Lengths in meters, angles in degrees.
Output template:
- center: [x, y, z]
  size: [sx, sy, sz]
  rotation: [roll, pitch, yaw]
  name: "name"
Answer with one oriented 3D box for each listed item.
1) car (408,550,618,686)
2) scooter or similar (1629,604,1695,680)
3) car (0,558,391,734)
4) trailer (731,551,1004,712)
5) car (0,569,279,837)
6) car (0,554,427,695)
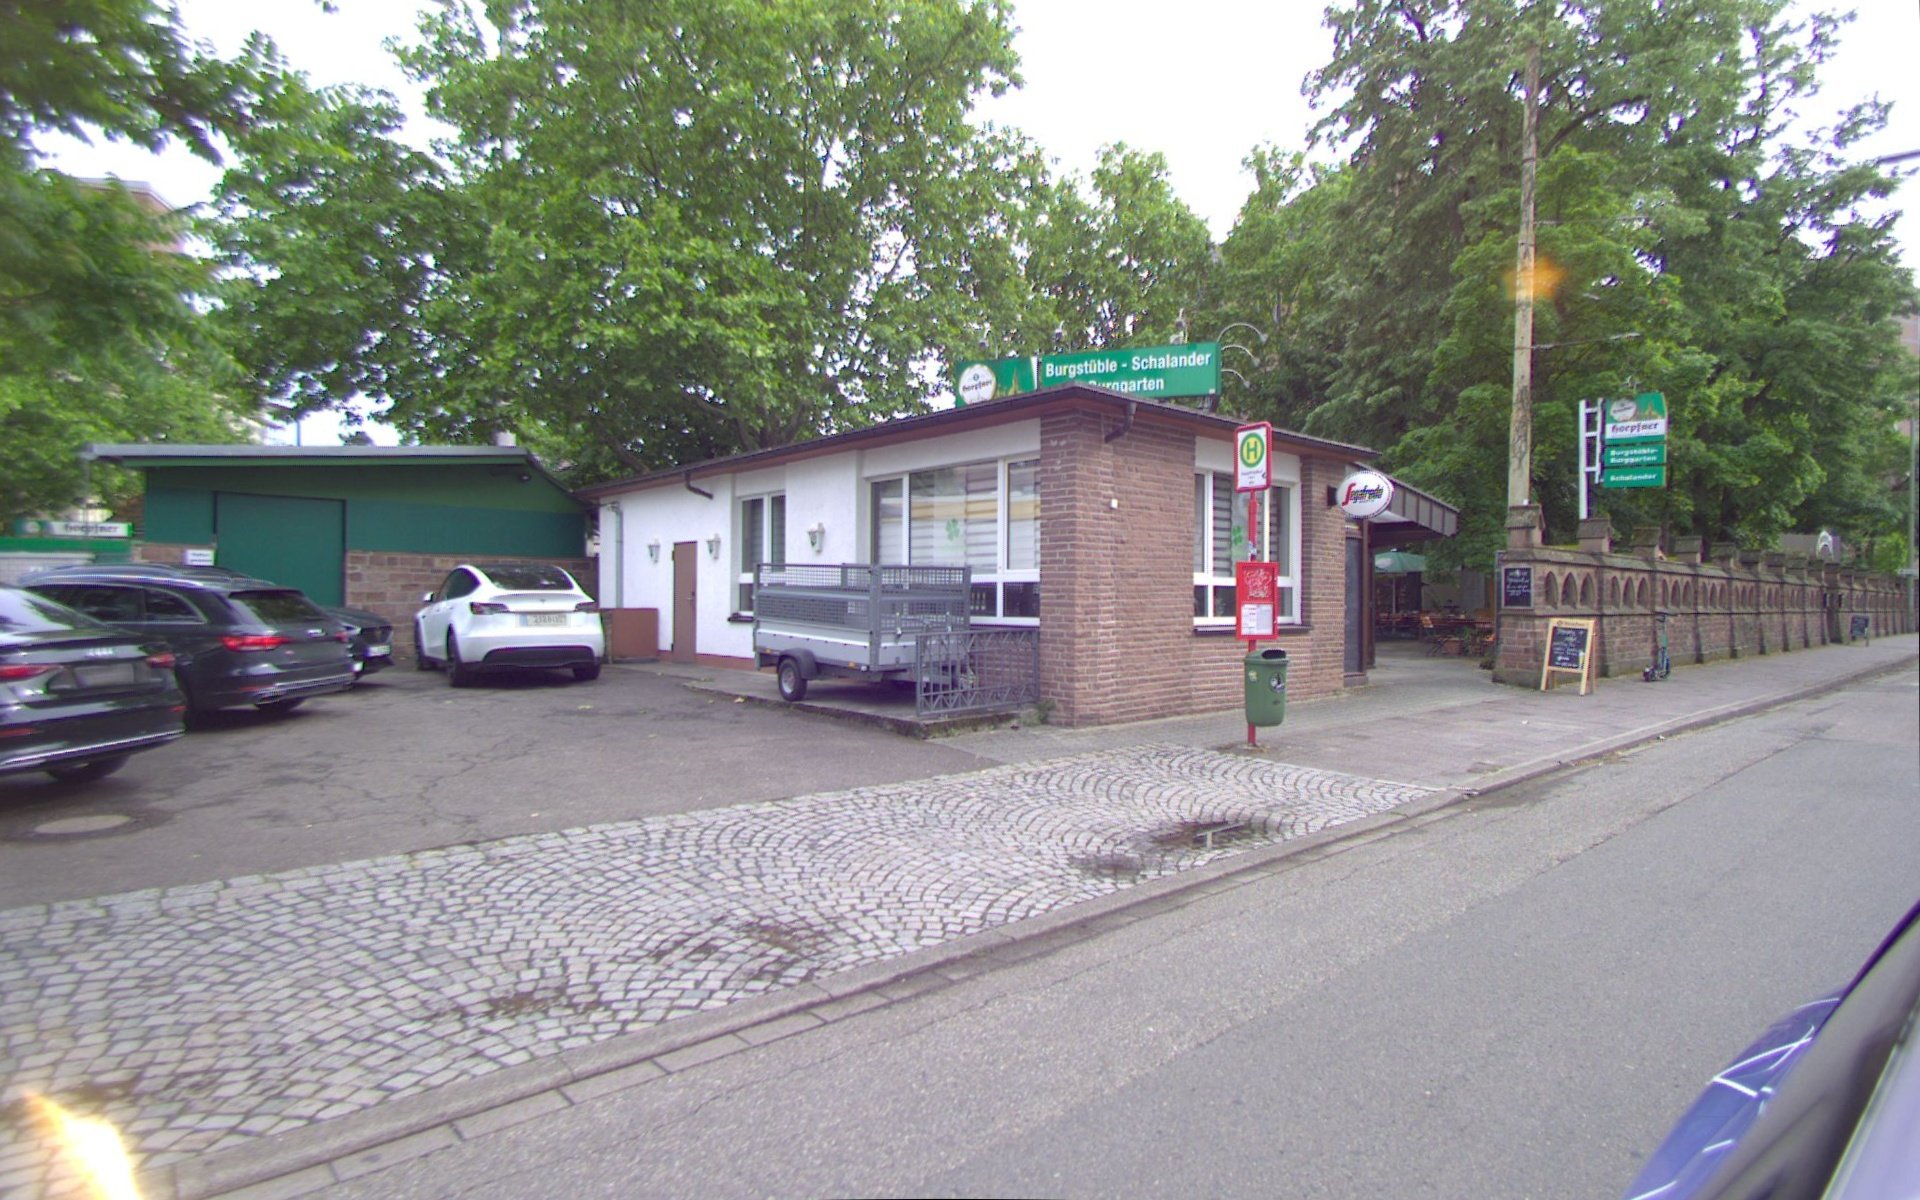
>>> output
- center: [-6.626, 0.206, 14.718]
  size: [1.953, 1.667, 4.438]
  rotation: [0, 0, -35]
  name: "car"
- center: [12.378, 0.714, 17.836]
  size: [1.385, 1.254, 0.578]
  rotation: [0, 3, -41]
  name: "scooter or similar"
- center: [-8.377, 0.370, 10.029]
  size: [4.457, 1.445, 1.878]
  rotation: [2, 3, 2]
  name: "car"
- center: [-1.147, 0.285, 11.522]
  size: [1.592, 1.558, 3.168]
  rotation: [0, 1, -40]
  name: "trailer"
- center: [-7.243, 0.489, 6.502]
  size: [4.501, 1.425, 1.934]
  rotation: [1, 0, 3]
  name: "car"
- center: [-9.322, 0.267, 12.494]
  size: [4.404, 1.477, 1.986]
  rotation: [2, 0, -2]
  name: "car"
